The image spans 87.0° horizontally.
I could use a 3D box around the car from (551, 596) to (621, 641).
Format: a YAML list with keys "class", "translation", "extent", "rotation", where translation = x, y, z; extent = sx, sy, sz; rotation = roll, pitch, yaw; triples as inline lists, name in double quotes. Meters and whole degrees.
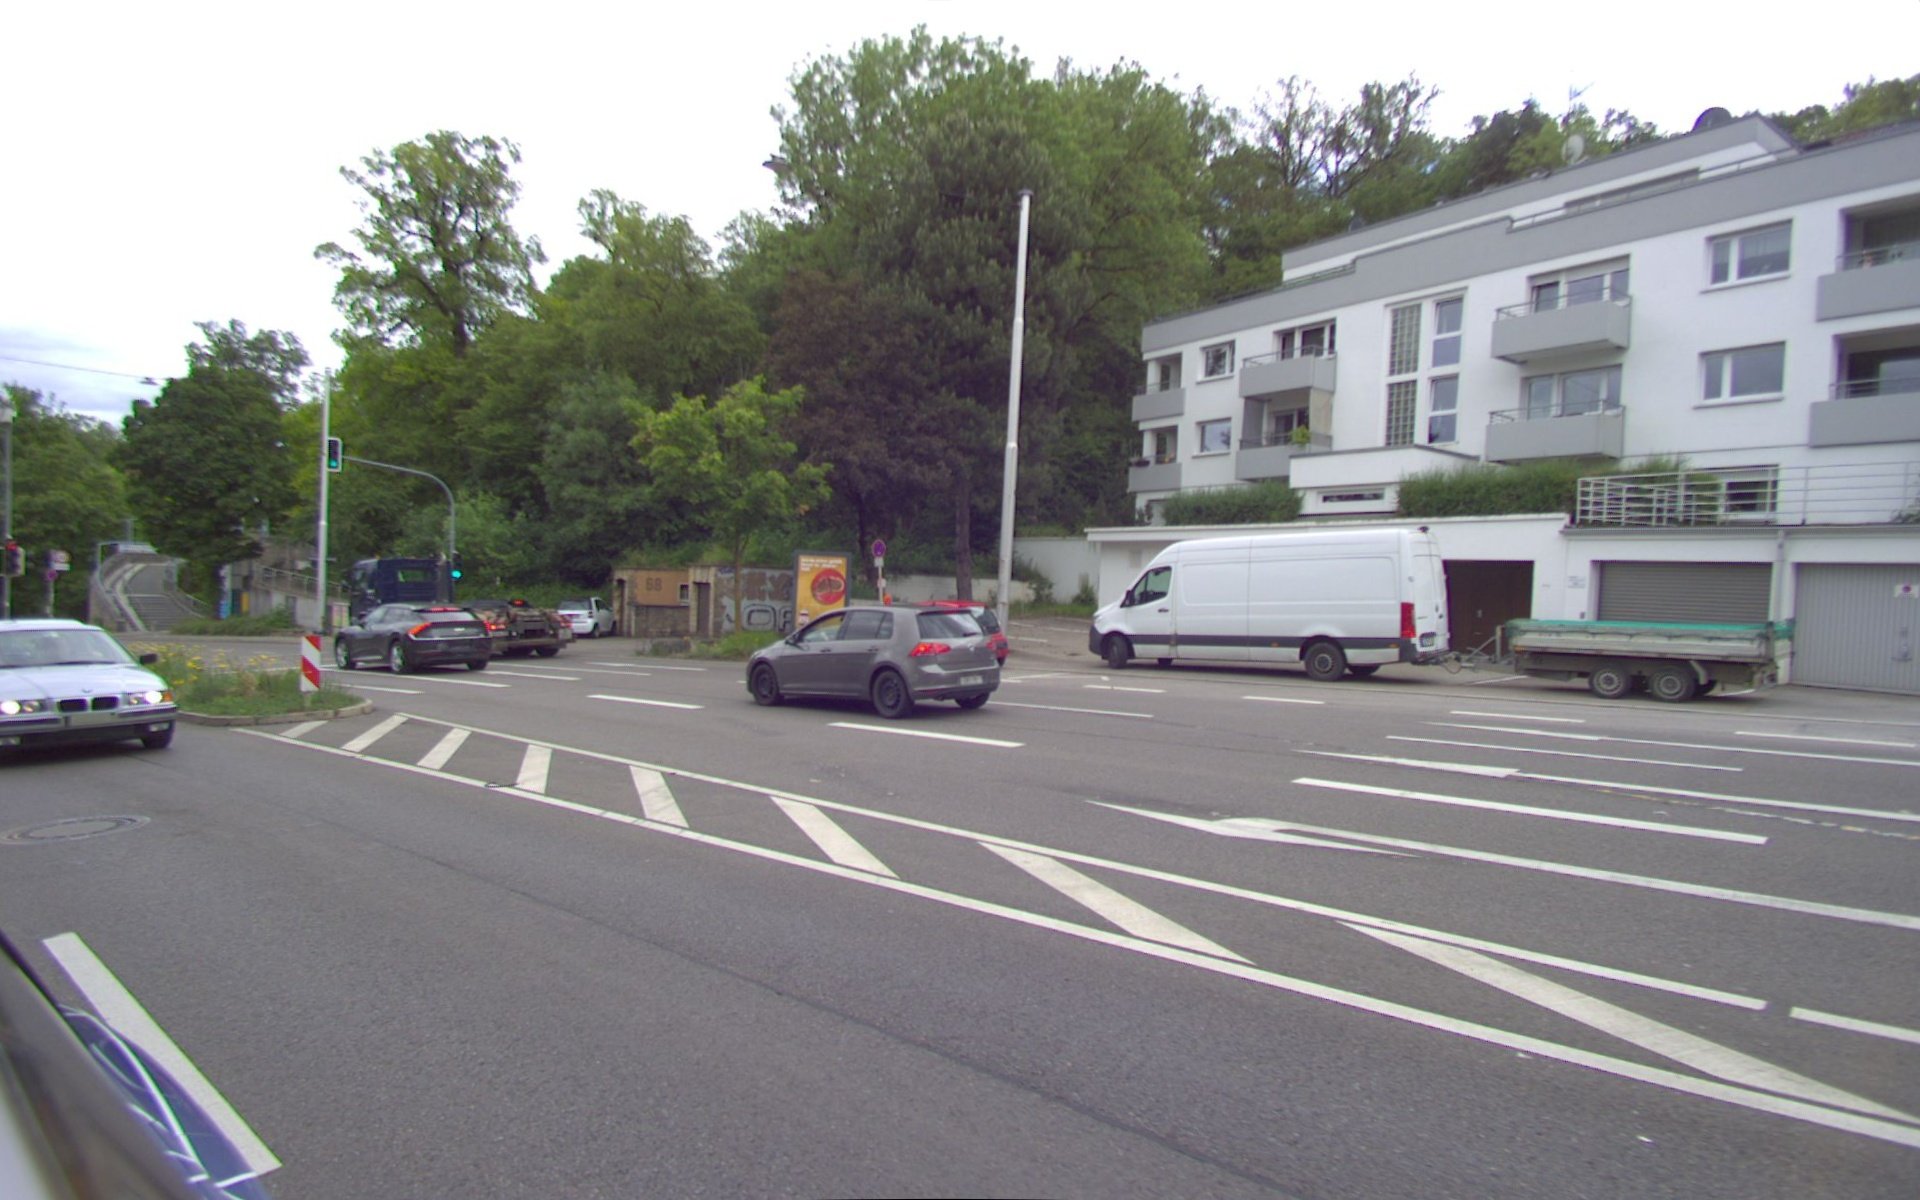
- class: "car"
  translation: [-14.242, 0.689, 38.633]
  extent: [1.544, 1.531, 2.708]
  rotation: [0, 2, 4]

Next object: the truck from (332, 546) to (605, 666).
- class: "truck"
  translation: [-14.240, 0.196, 28.982]
  extent: [8.954, 2.993, 2.937]
  rotation: [-1, 0, 34]

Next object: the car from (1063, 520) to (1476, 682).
- class: "car"
  translation: [5.620, 0.069, 19.539]
  extent: [7.422, 2.587, 2.207]
  rotation: [-1, -1, 43]

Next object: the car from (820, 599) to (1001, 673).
- class: "car"
  translation: [-1.141, 0.756, 22.234]
  extent: [3.922, 1.476, 1.605]
  rotation: [-1, -1, 39]

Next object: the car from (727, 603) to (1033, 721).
- class: "car"
  translation: [-1.225, 0.765, 14.154]
  extent: [4.282, 1.404, 1.824]
  rotation: [-1, -1, 42]

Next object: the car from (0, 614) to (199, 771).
- class: "car"
  translation: [-10.196, 0.871, 11.166]
  extent: [4.608, 1.404, 1.736]
  rotation: [-1, 0, 38]

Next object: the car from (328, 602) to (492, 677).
- class: "car"
  translation: [-12.445, 0.838, 22.789]
  extent: [4.481, 1.508, 1.679]
  rotation: [-1, 0, 39]

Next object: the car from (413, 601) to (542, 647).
- class: "car"
  translation: [-16.810, 0.834, 35.304]
  extent: [4.097, 1.551, 1.590]
  rotation: [-1, -1, 17]

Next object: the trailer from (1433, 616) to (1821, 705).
- class: "trailer"
  translation: [9.961, 0.819, 15.338]
  extent: [4.622, 1.120, 2.222]
  rotation: [-1, -1, 43]
